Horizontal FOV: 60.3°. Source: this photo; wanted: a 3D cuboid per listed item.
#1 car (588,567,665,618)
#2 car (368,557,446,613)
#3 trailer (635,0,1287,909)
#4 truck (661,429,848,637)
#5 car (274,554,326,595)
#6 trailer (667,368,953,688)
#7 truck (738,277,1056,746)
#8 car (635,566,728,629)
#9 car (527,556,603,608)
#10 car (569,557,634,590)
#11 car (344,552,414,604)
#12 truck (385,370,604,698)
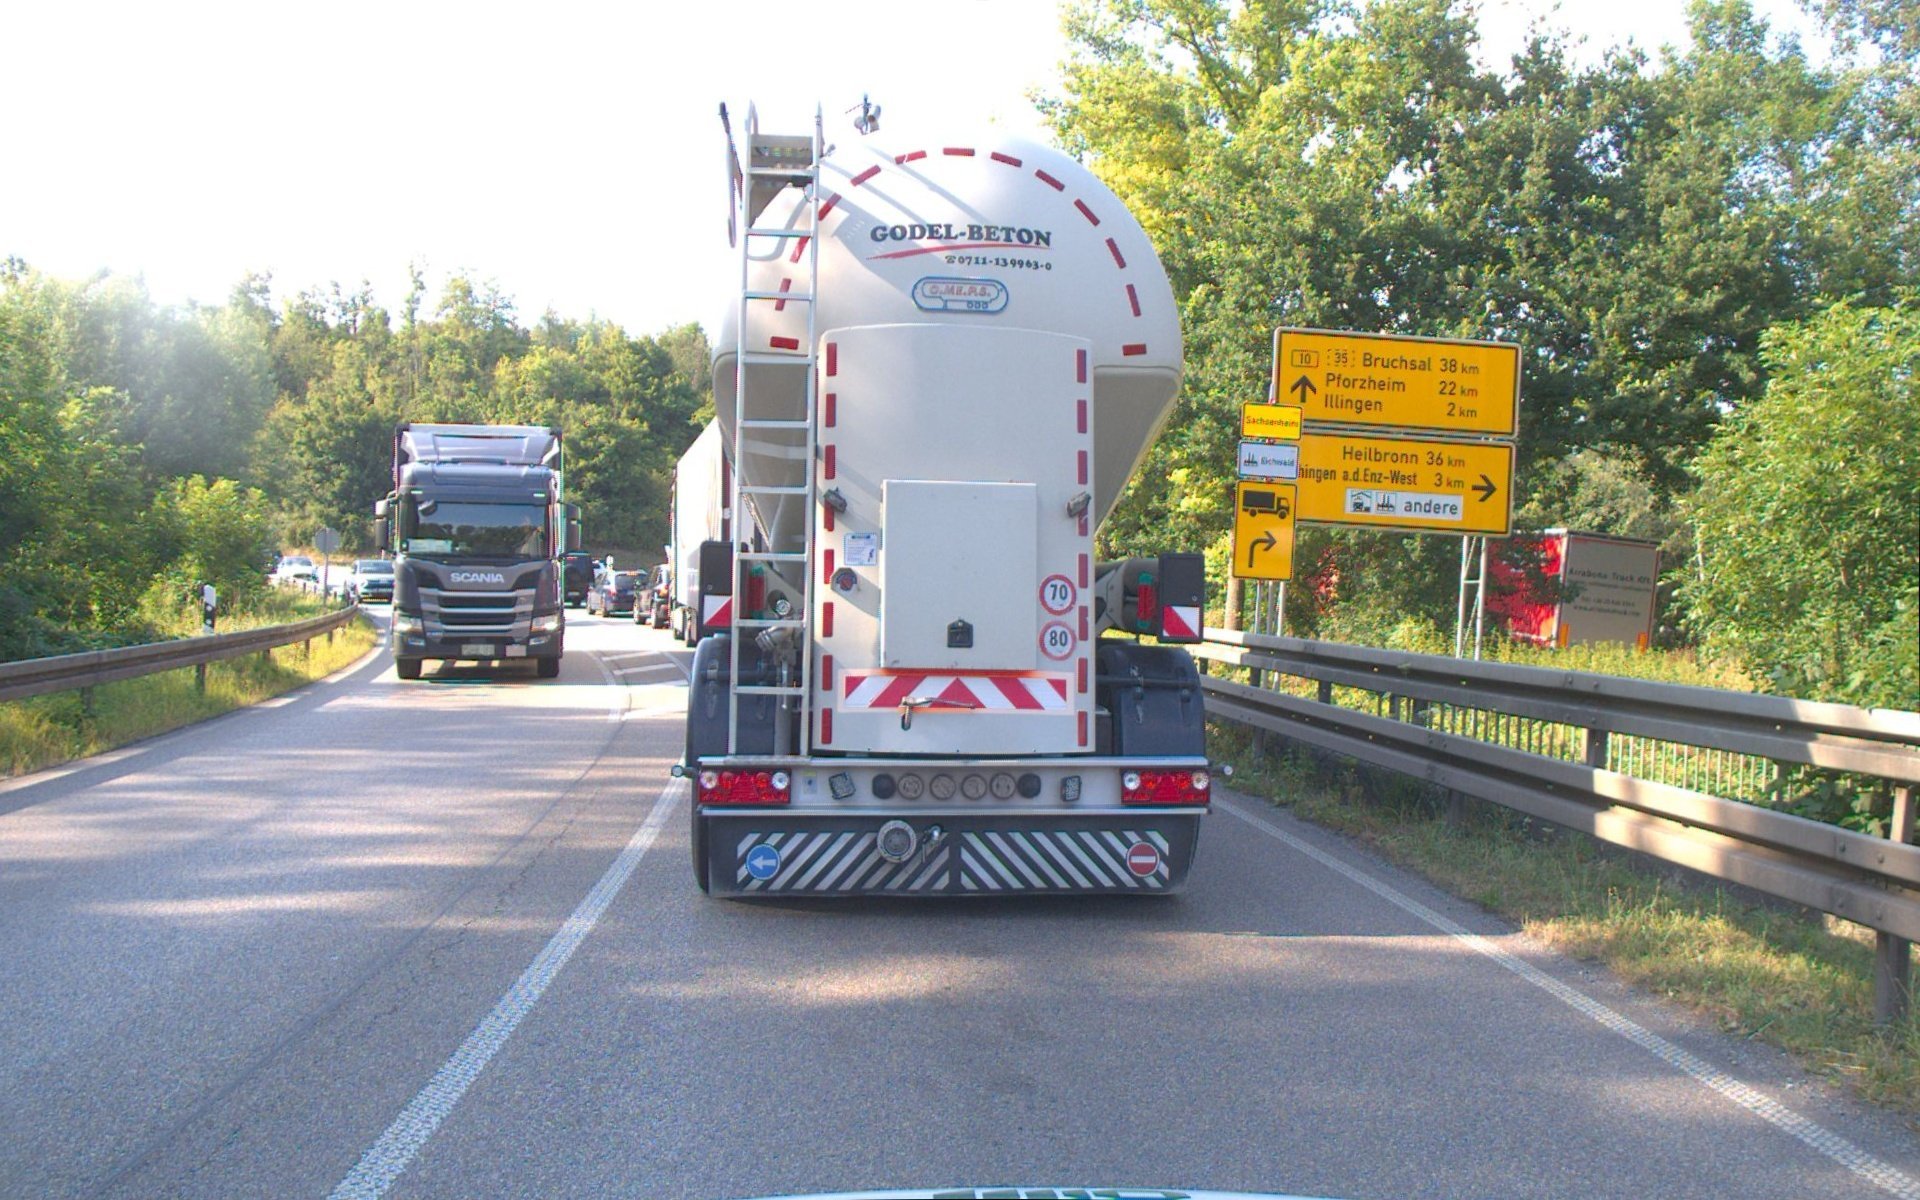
[{"bbox_3d":[-10.827,-0.274,53.548,1.841,1.592,3.976,0,1,-21],"label":"car"},{"bbox_3d":[-17.194,-0.481,51.315,1.844,1.584,3.969,3,0,-25],"label":"car"},{"bbox_3d":[-0.363,-0.920,12.117,2.830,4.532,9.596,1,0,-5],"label":"trailer"},{"bbox_3d":[-4.795,-1.438,37.360,3.391,4.157,6.468,2,1,-14],"label":"truck"},{"bbox_3d":[-33.079,-1.301,82.900,1.847,1.884,3.961,3,0,-29],"label":"car"},{"bbox_3d":[-3.304,-1.075,30.831,3.484,4.592,12.941,2,0,-13],"label":"trailer"},{"bbox_3d":[-0.913,-0.784,17.639,2.771,4.105,5.884,1,0,-7],"label":"truck"},{"bbox_3d":[-7.762,-0.110,45.826,1.840,1.656,3.976,0,1,-20],"label":"car"},{"bbox_3d":[-14.897,-0.706,62.267,1.933,1.883,3.966,-1,2,-26],"label":"car"},{"bbox_3d":[-25.072,-1.828,115.640,3.967,2.049,1.969,3,0,-43],"label":"car"},{"bbox_3d":[-22.565,-0.873,64.154,1.847,1.884,3.962,3,0,-29],"label":"car"},{"bbox_3d":[-8.267,-0.952,28.857,2.965,4.665,10.190,1,0,-18],"label":"truck"}]
